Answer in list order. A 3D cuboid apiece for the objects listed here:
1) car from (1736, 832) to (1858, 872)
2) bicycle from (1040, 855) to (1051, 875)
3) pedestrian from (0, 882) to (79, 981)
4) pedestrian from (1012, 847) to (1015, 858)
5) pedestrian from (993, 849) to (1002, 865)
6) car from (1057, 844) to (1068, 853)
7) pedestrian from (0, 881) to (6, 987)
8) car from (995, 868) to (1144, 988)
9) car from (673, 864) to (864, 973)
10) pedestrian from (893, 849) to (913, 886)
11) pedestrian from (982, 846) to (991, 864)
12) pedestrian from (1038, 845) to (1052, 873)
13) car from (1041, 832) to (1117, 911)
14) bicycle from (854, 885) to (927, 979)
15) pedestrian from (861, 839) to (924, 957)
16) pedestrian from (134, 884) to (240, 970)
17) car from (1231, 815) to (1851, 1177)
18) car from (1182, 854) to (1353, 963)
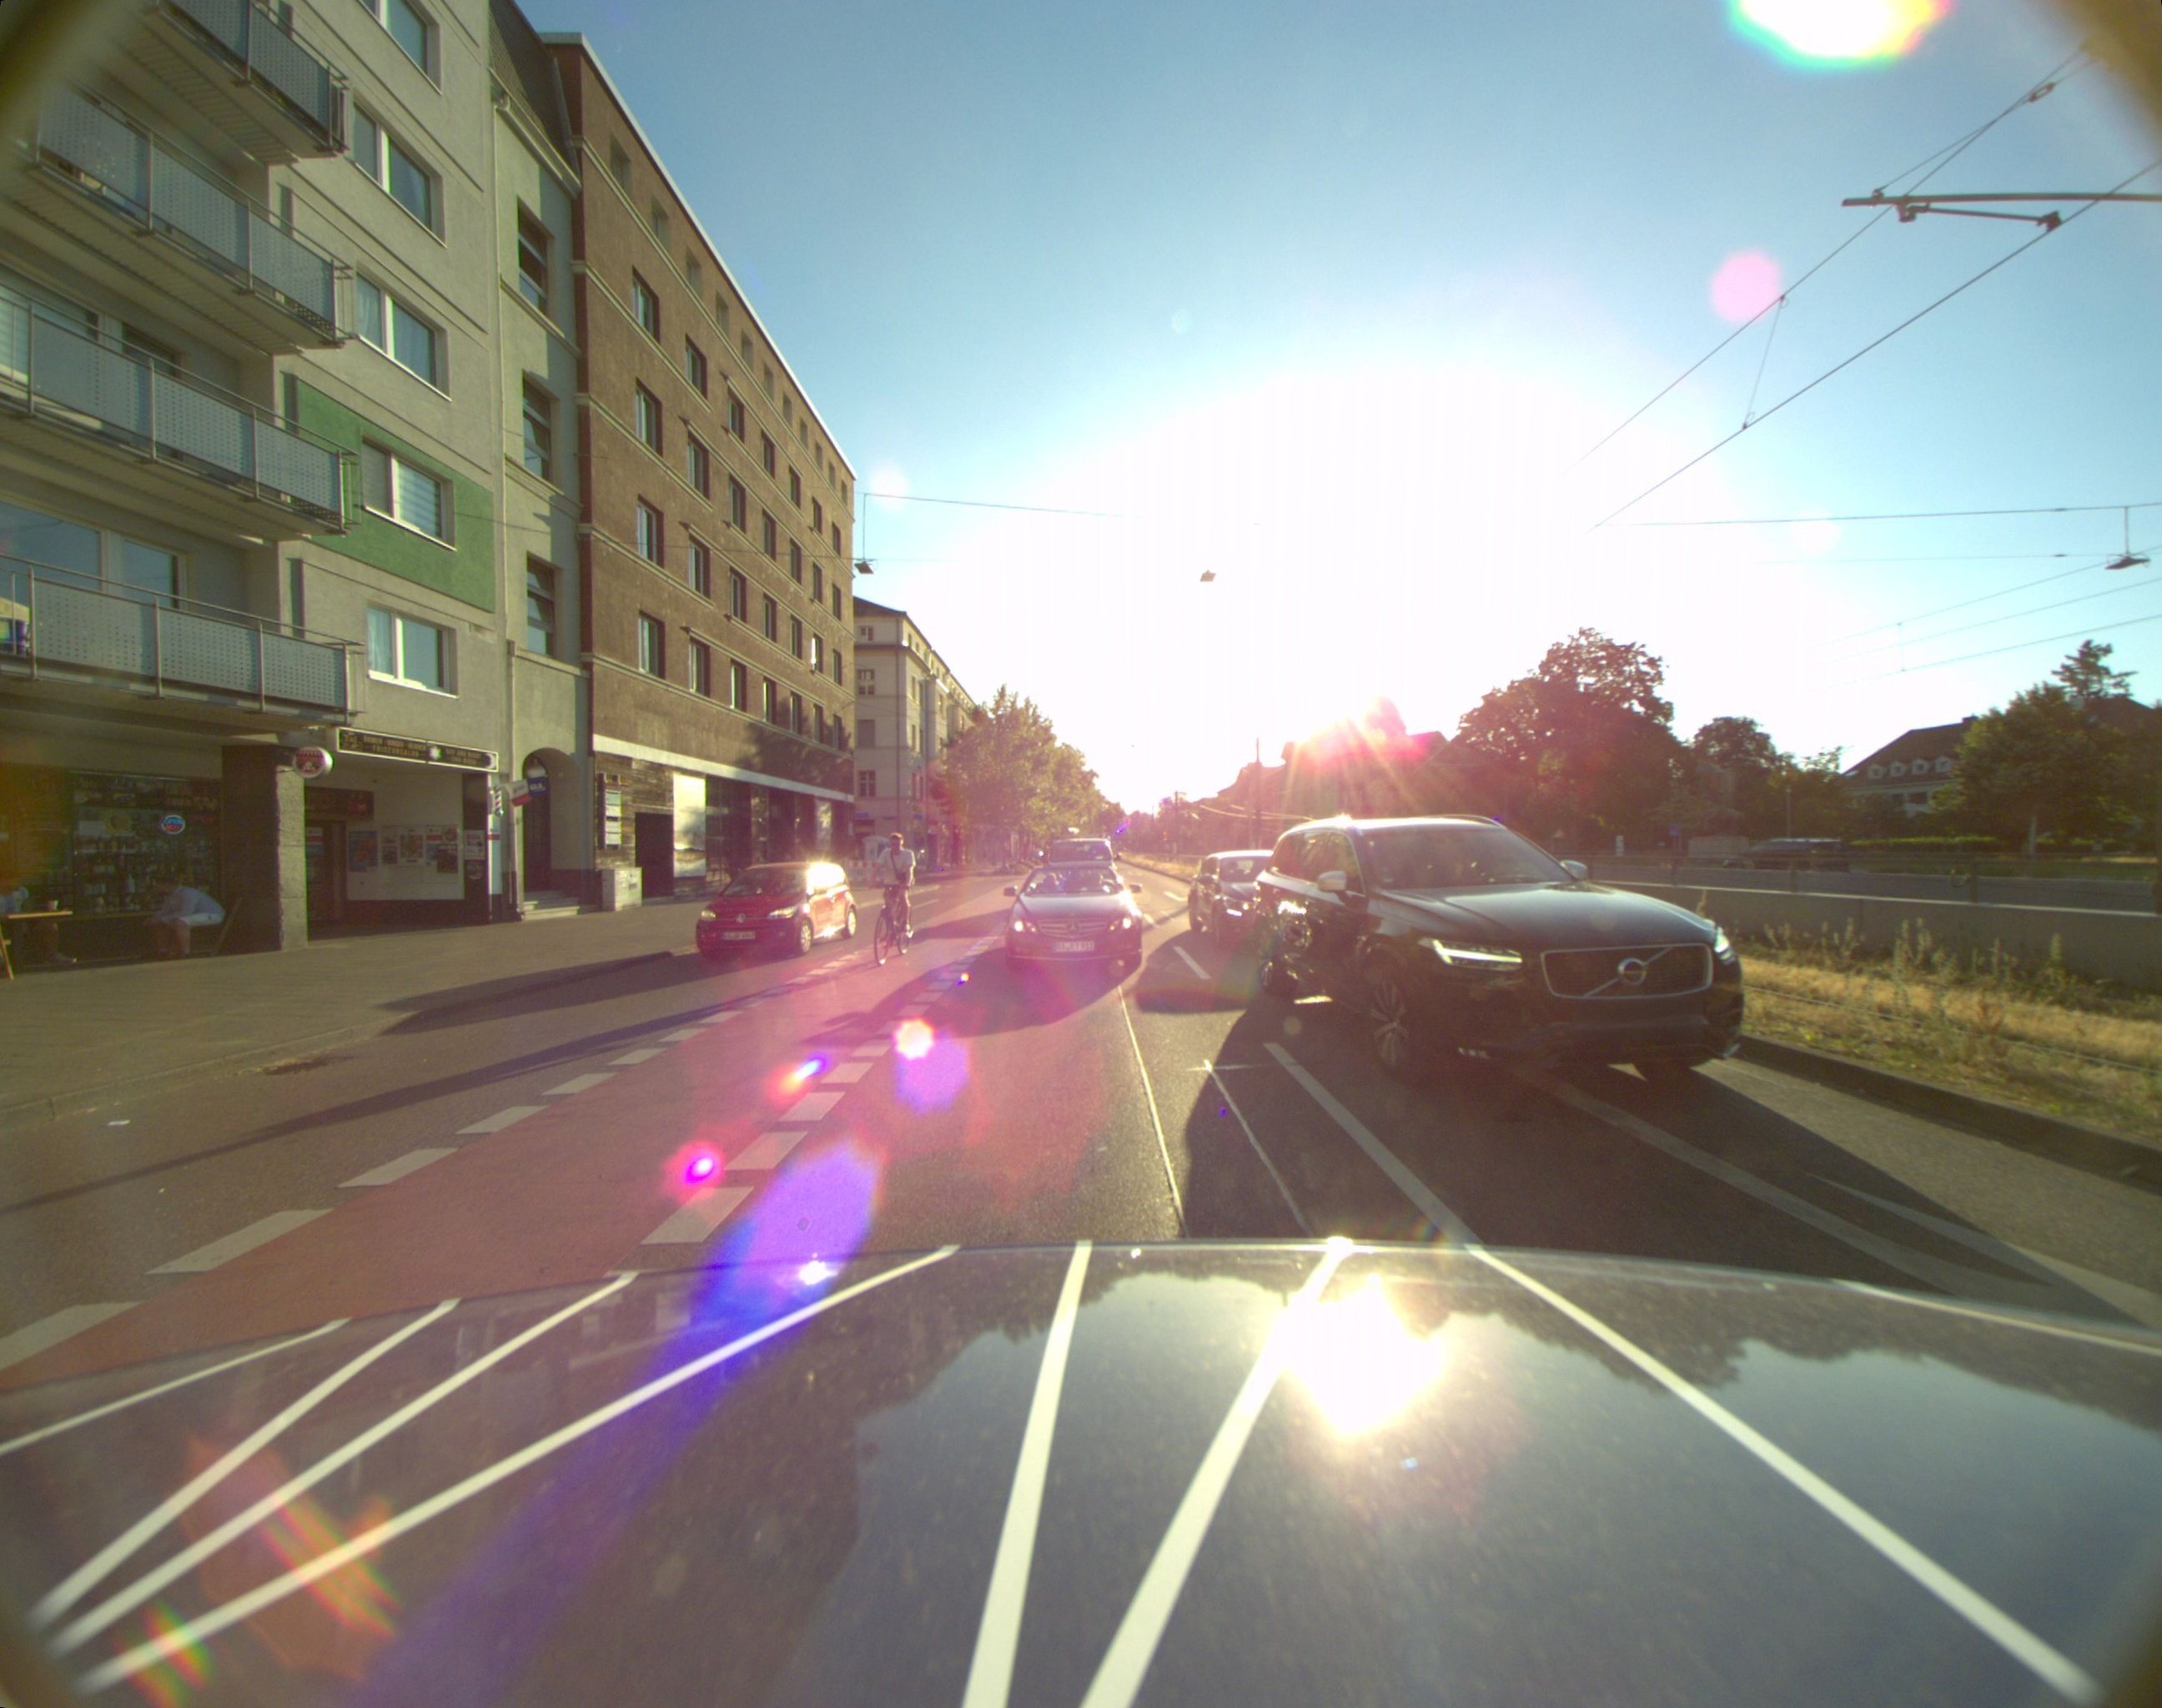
[{"bbox_3d":[32.026,-0.098,34.159,1.715,1.685,4.089,-1,1,1],"label":"car"},{"bbox_3d":[-2.133,0.637,45.838,0.530,1.152,1.849,-2,1,2],"label":"bicycle"},{"bbox_3d":[-13.984,1.001,9.991,0.727,1.224,0.647,-1,1,2],"label":"pedestrian"},{"bbox_3d":[-8.531,-0.159,95.846,0.310,1.431,0.357,-1,1,8],"label":"pedestrian"},{"bbox_3d":[-7.943,0.289,71.908,0.728,1.431,0.924,-1,1,0],"label":"pedestrian"},{"bbox_3d":[-3.169,-0.906,131.506,1.775,1.474,4.309,-1,0,1],"label":"car"},{"bbox_3d":[-13.459,0.981,8.784,0.646,1.287,0.954,-1,1,3],"label":"pedestrian"},{"bbox_3d":[-0.136,0.925,11.223,1.776,1.300,4.240,-1,1,0],"label":"car"},{"bbox_3d":[-5.149,0.984,13.047,1.687,1.472,3.539,-2,1,1],"label":"car"},{"bbox_3d":[-7.629,0.570,32.576,0.603,1.587,0.884,-1,1,0],"label":"pedestrian"},{"bbox_3d":[-9.008,0.063,72.213,0.728,1.666,0.924,-1,1,0],"label":"pedestrian"},{"bbox_3d":[-2.162,0.303,45.875,0.679,1.639,0.901,-2,1,2],"label":"pedestrian"},{"bbox_3d":[-0.049,0.418,21.883,1.920,1.978,4.946,-1,1,0],"label":"car"},{"bbox_3d":[-2.721,1.075,11.033,0.530,1.152,1.849,-2,1,0],"label":"bicycle"},{"bbox_3d":[-2.721,0.611,11.062,0.640,1.639,0.843,-2,1,0],"label":"pedestrian"},{"bbox_3d":[-12.694,1.019,10.812,0.606,1.145,0.727,-1,1,0],"label":"pedestrian"},{"bbox_3d":[2.800,0.685,6.222,1.956,1.702,4.849,-3,1,-2],"label":"car"},{"bbox_3d":[2.852,0.757,12.513,1.815,1.393,3.919,-3,1,0],"label":"car"}]
